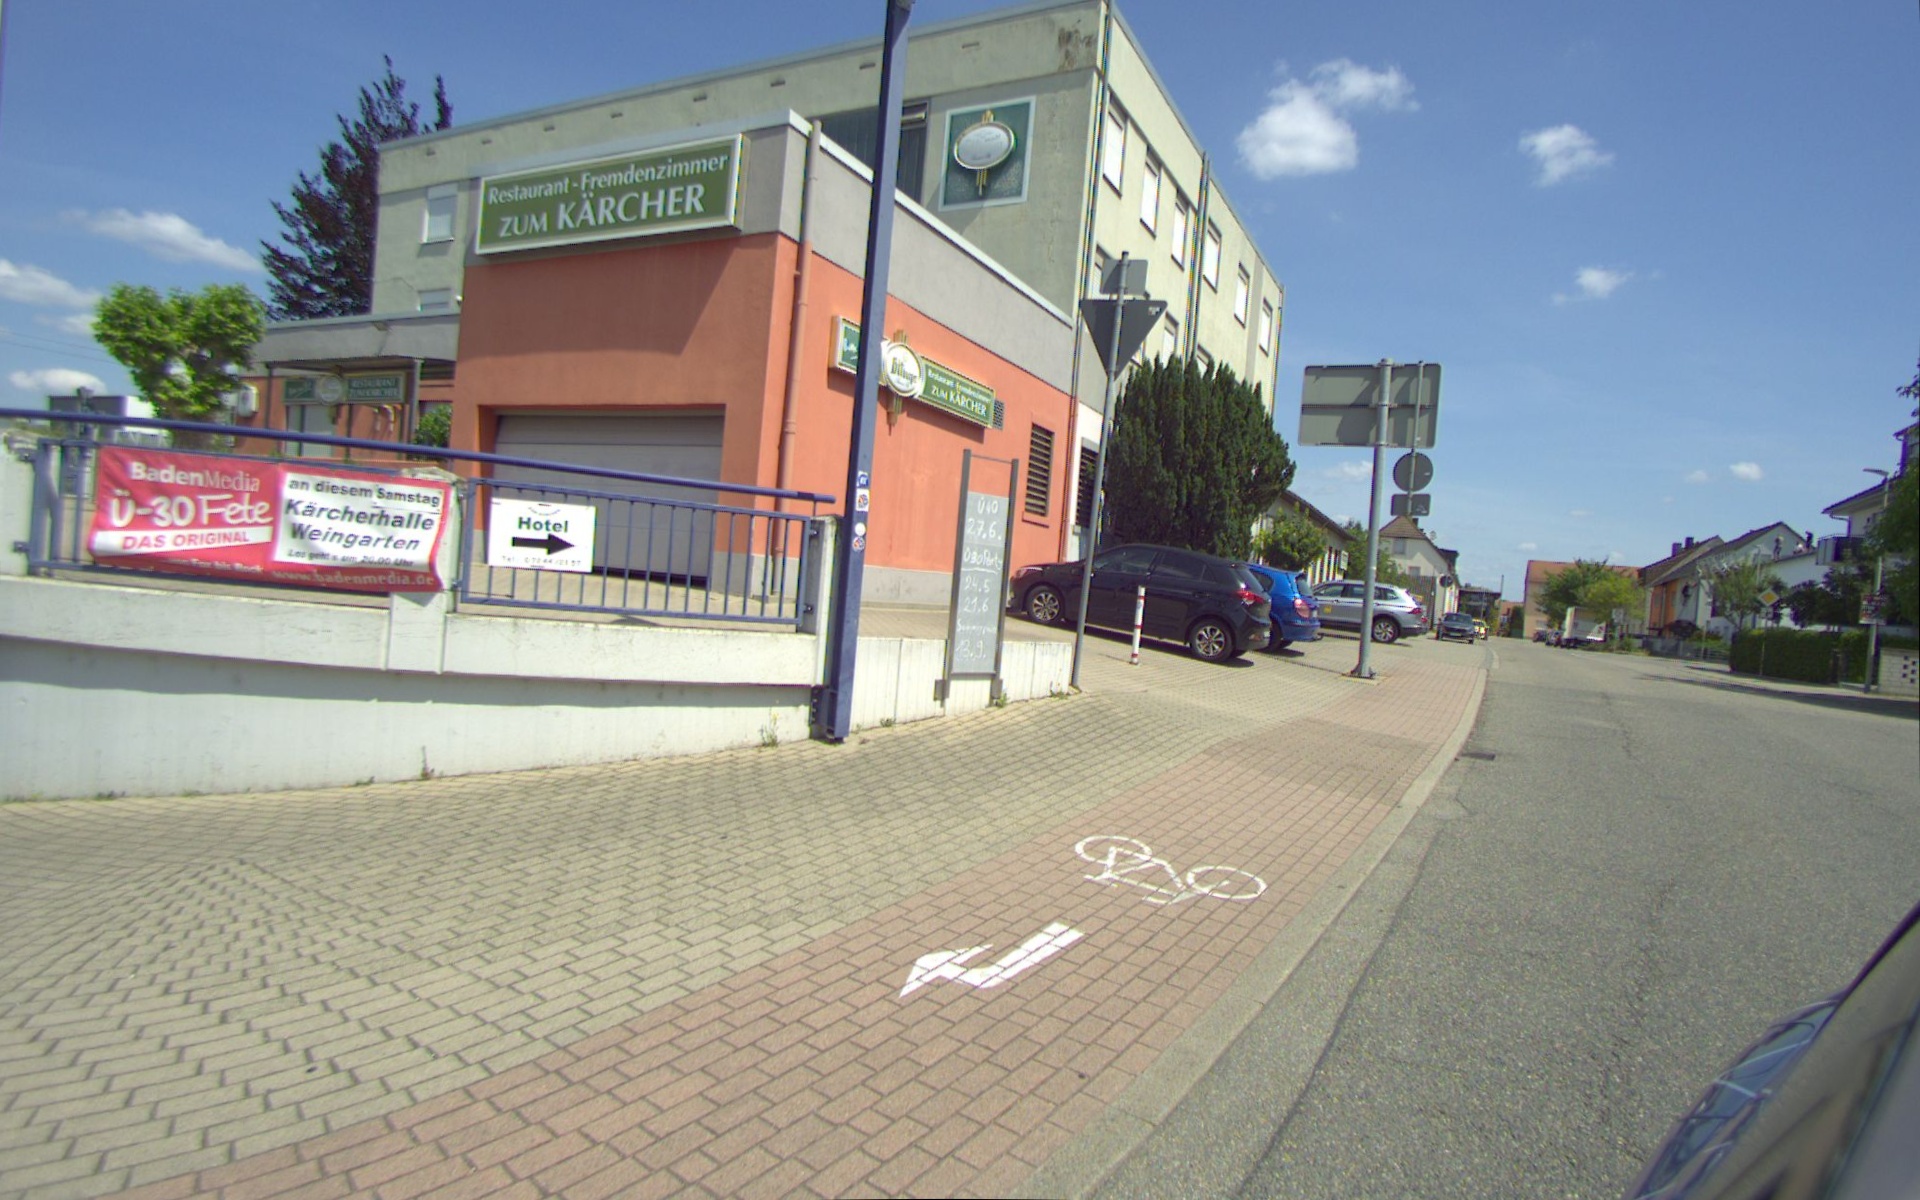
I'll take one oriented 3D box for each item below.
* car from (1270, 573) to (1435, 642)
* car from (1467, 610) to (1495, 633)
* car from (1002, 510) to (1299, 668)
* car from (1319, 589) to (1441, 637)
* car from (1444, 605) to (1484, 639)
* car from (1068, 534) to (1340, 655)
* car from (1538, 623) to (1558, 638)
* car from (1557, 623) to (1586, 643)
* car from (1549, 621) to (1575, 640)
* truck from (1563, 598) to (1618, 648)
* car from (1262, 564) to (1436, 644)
[{"bbox_3d":[12.160,0.200,31.432,4.477,1.538,1.980,8,2,28],"label":"car"},{"bbox_3d":[39.733,1.636,77.148,1.708,1.414,4.173,10,3,28],"label":"car"},{"bbox_3d":[2.838,-0.223,15.172,3.877,1.506,1.793,13,6,27],"label":"car"},{"bbox_3d":[17.920,0.542,43.212,4.505,1.471,1.898,8,2,29],"label":"car"},{"bbox_3d":[25.539,1.122,51.301,1.618,1.507,4.101,6,1,26],"label":"car"},{"bbox_3d":[4.312,-0.172,18.052,4.301,1.455,1.763,9,6,28],"label":"car"},{"bbox_3d":[71.192,3.692,122.589,1.707,1.518,4.174,8,2,27],"label":"car"},{"bbox_3d":[54.457,2.928,90.205,1.707,1.518,4.174,8,2,27],"label":"car"},{"bbox_3d":[57.027,2.850,95.901,1.707,1.518,4.174,8,2,27],"label":"car"},{"bbox_3d":[48.424,1.760,77.879,2.424,3.284,6.973,9,3,25],"label":"truck"},{"bbox_3d":[11.277,0.085,29.351,4.428,1.717,1.905,8,2,27],"label":"car"}]
